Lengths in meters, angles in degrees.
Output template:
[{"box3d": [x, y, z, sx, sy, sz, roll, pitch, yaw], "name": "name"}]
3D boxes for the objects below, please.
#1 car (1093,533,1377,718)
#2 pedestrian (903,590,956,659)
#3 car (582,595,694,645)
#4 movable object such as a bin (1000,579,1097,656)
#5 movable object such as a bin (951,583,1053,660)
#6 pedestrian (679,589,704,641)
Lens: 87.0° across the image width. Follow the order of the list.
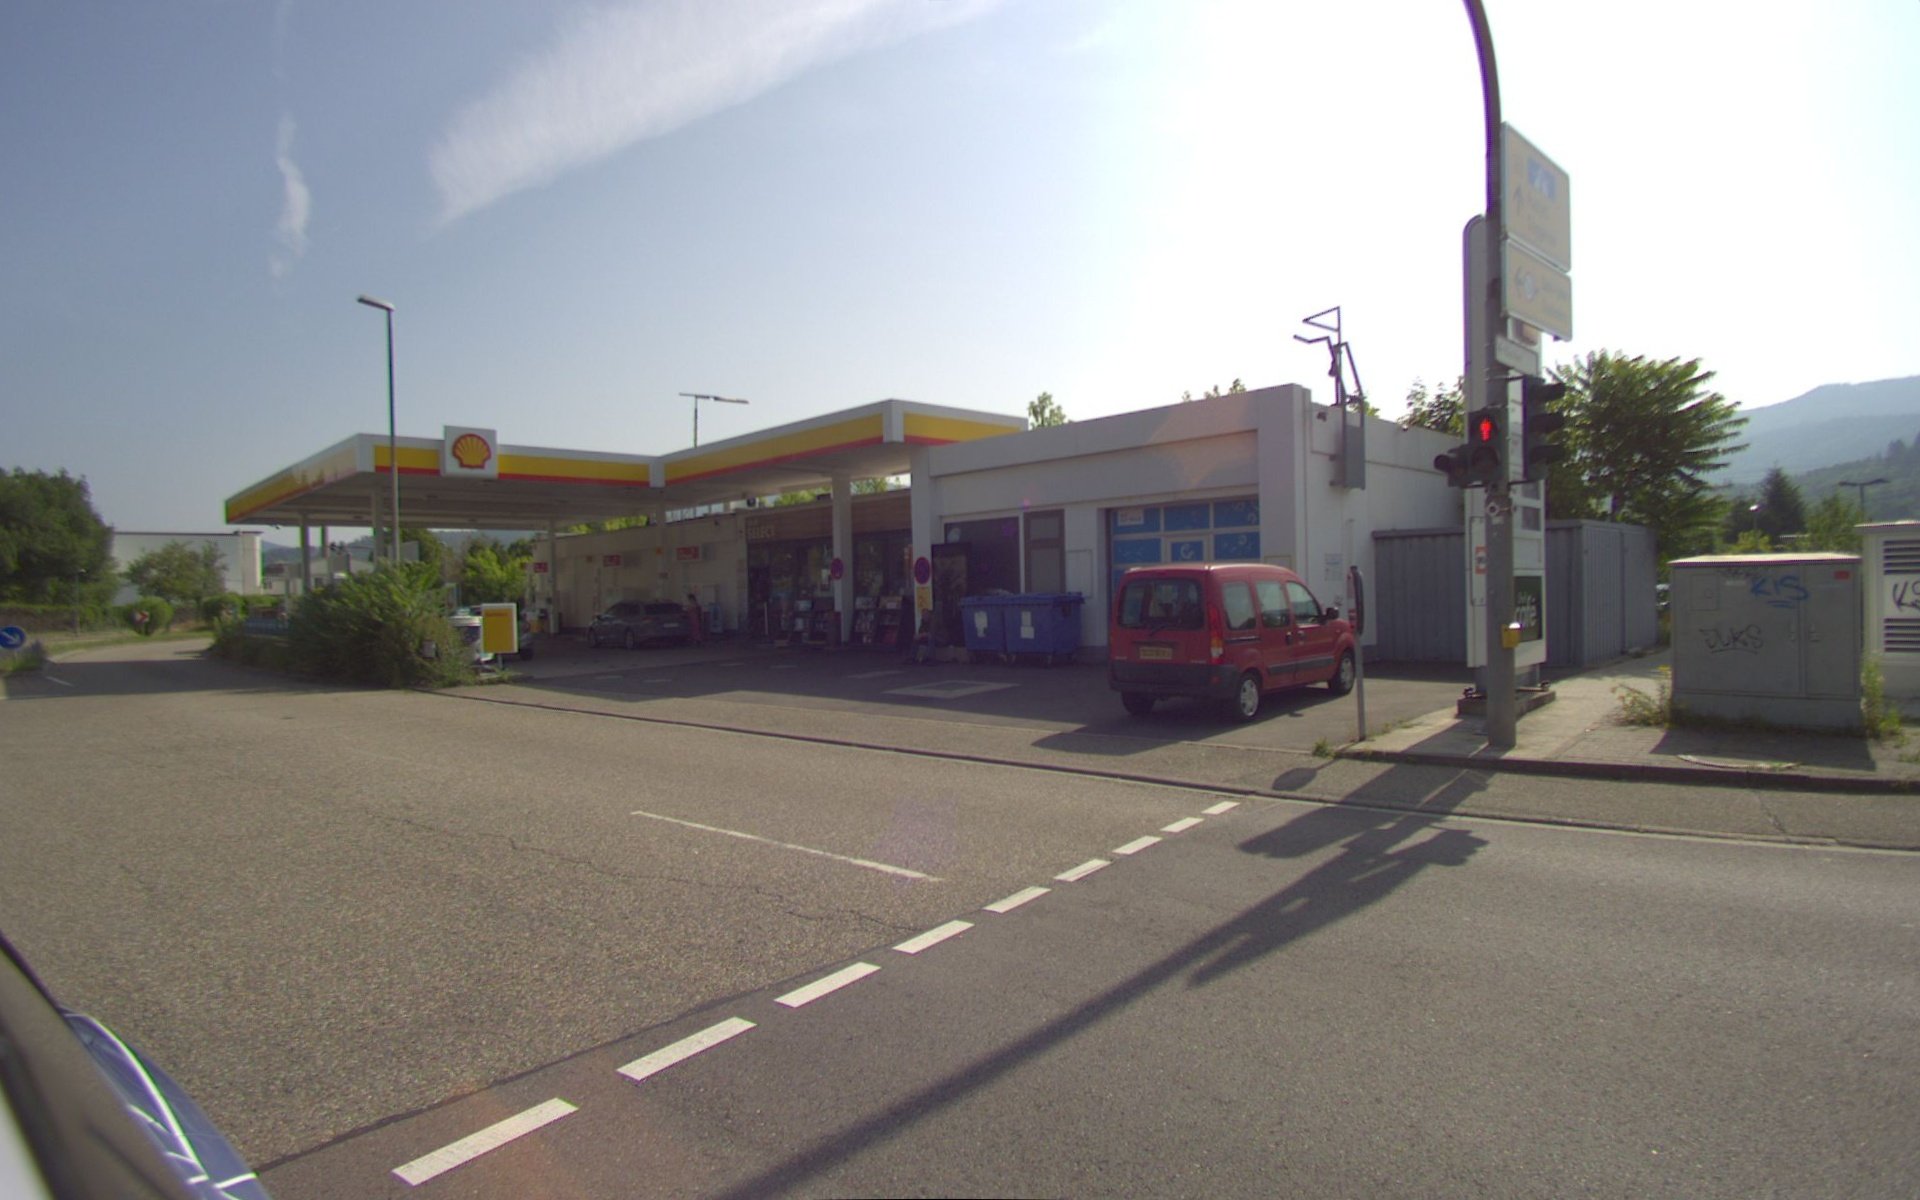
[{"box3d": [3.504, 0.190, 12.504, 1.703, 1.808, 3.734, -1, 4, 45], "name": "car"}, {"box3d": [-0.603, 0.465, 19.976, 0.816, 1.305, 0.607, 0, 2, 45], "name": "pedestrian"}, {"box3d": [-9.953, 0.573, 31.089, 1.608, 1.422, 4.232, -1, 0, -43], "name": "car"}, {"box3d": [1.607, 0.295, 18.259, 1.227, 1.251, 1.169, -7, 4, -44], "name": "movable object such as a bin"}, {"box3d": [0.800, 0.381, 19.286, 1.227, 1.299, 1.436, -7, 4, -43], "name": "movable object such as a bin"}, {"box3d": [-8.168, 0.452, 30.807, 0.551, 1.558, 0.535, -1, 0, -44], "name": "pedestrian"}]
